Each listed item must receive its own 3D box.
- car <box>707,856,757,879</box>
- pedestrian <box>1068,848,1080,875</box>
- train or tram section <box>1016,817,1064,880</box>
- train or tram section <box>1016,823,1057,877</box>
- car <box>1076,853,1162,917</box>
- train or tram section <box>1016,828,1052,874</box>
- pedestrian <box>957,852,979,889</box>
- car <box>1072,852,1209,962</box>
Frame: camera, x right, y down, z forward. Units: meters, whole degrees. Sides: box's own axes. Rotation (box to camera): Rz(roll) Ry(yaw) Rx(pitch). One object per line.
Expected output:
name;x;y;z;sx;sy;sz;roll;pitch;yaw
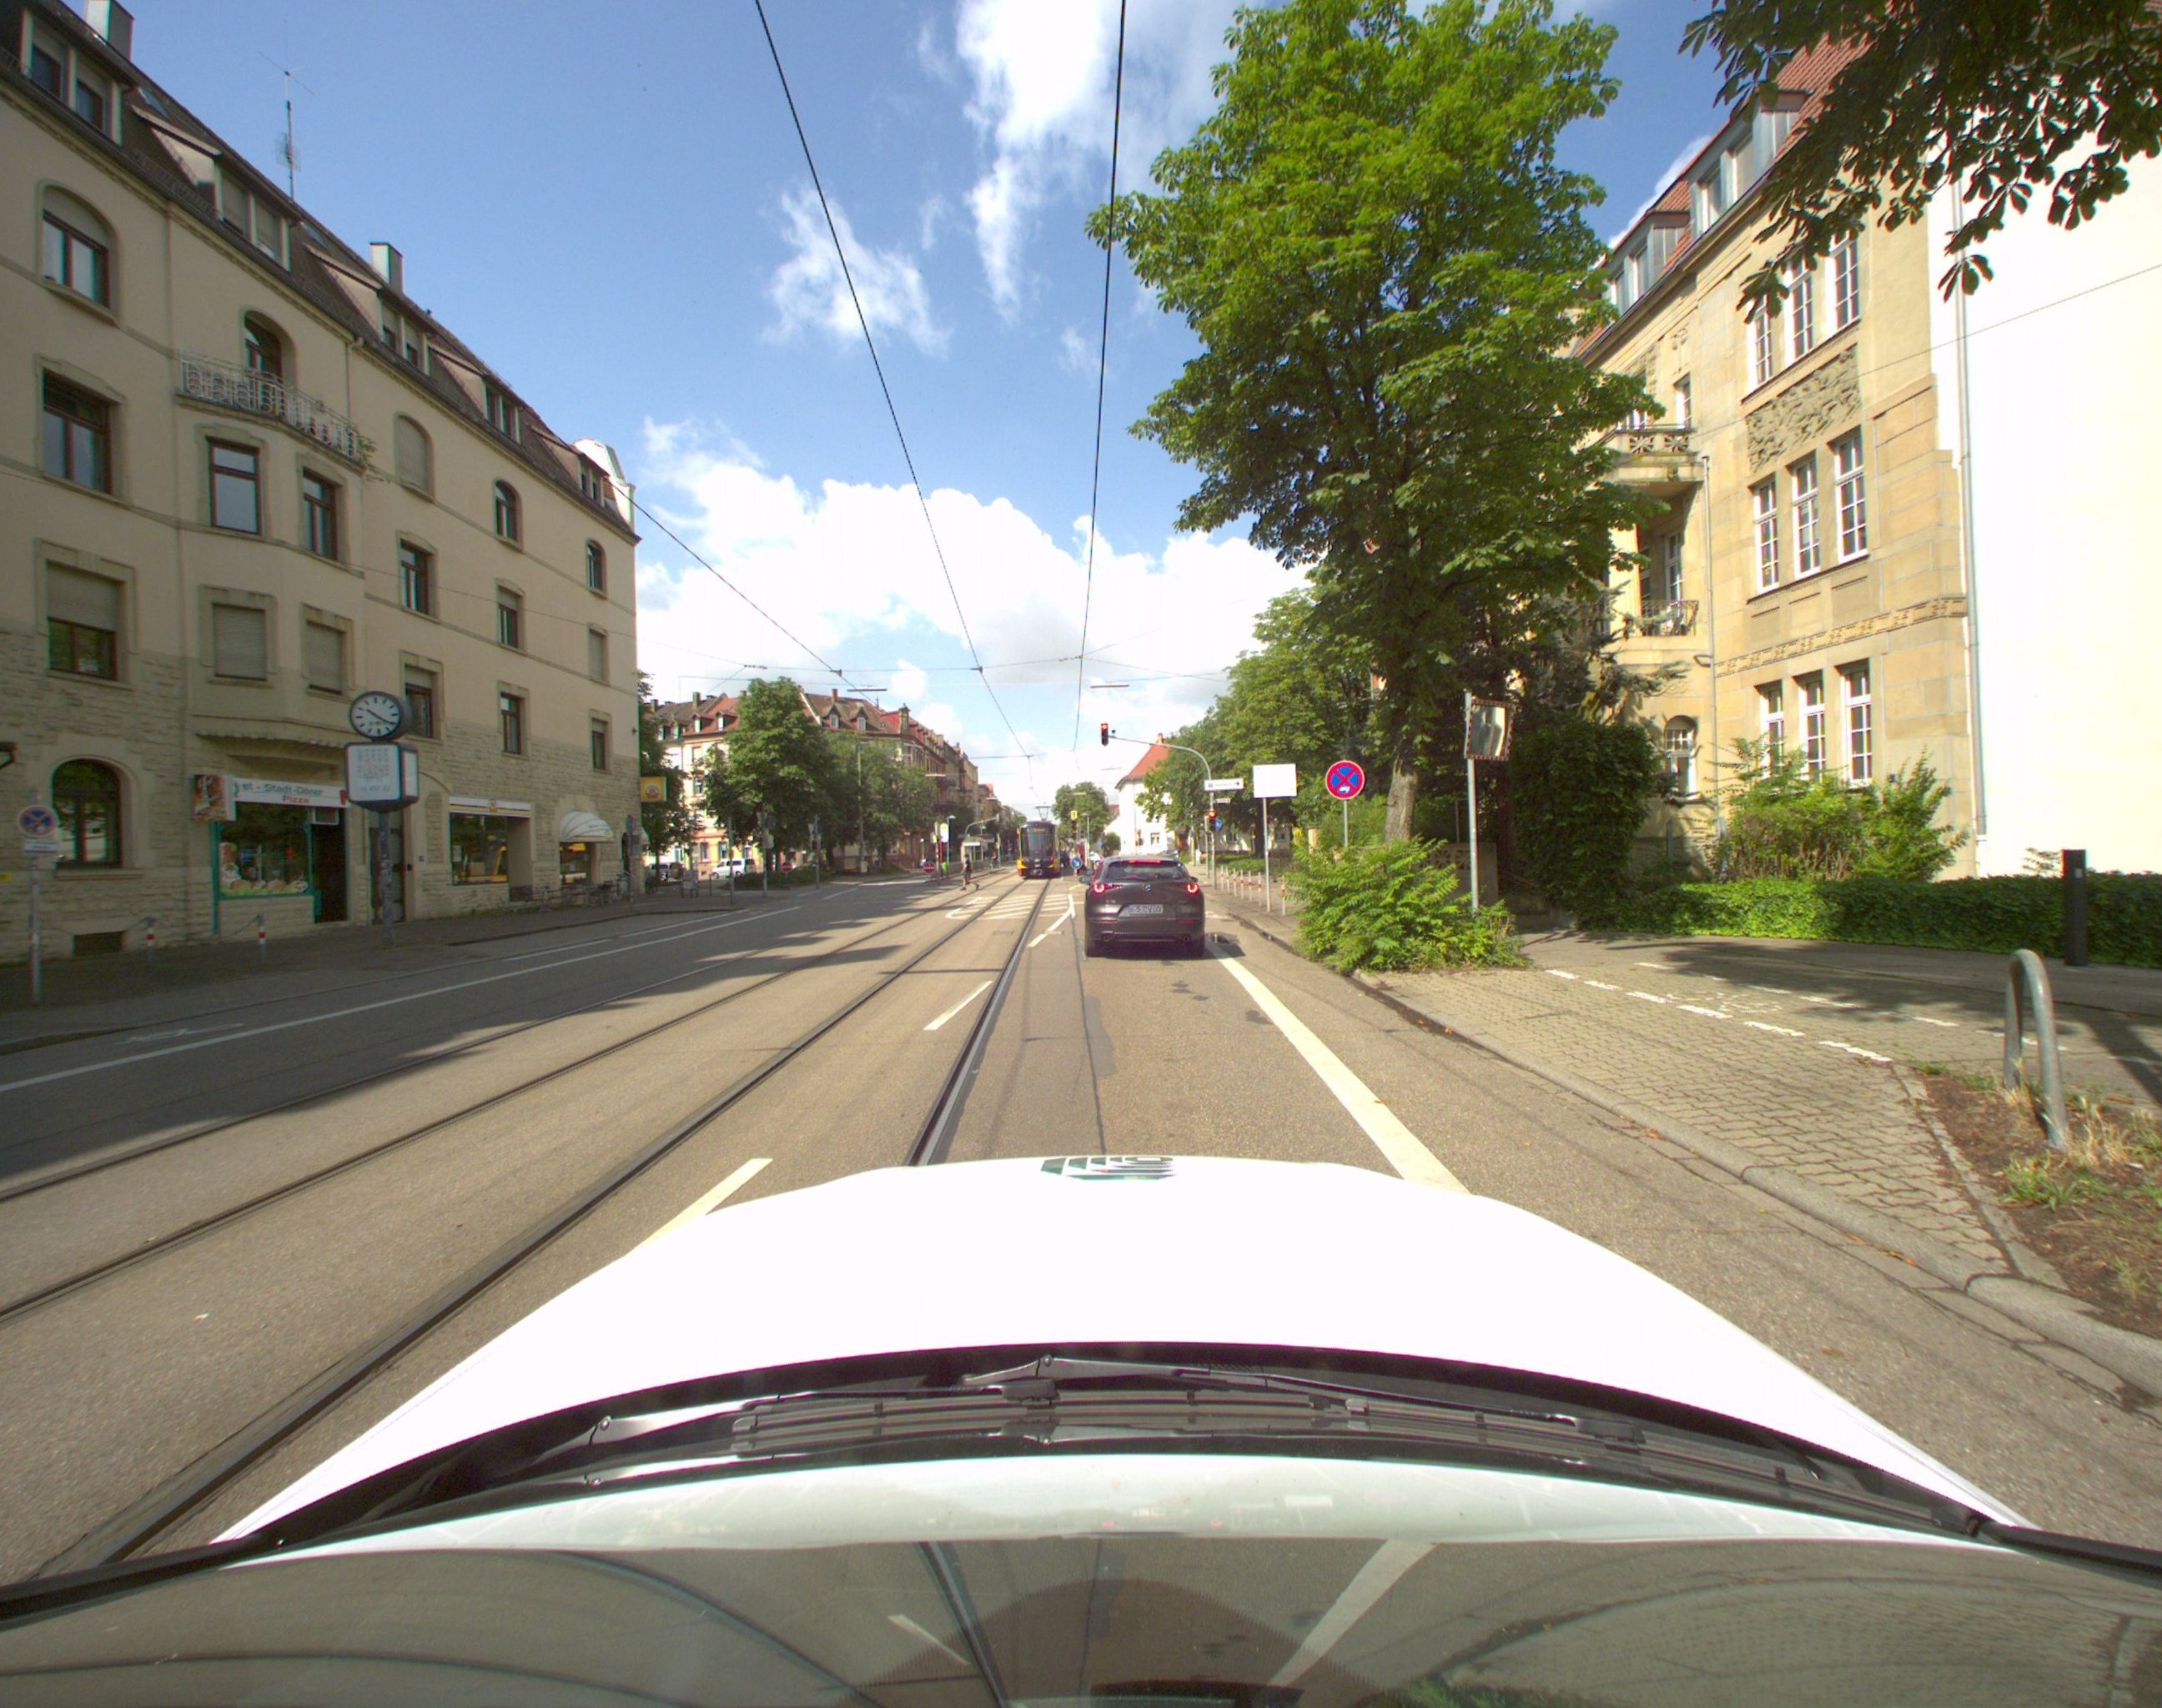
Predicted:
car;-36.083;1.357;84.278;4.097;2.013;2.005;-5;0;8
pedestrian;-0.432;0.441;49.254;0.666;1.605;0.699;-2;0;-3
train or tram section;-2.713;-0.307;51.497;2.647;3.527;8.482;-3;0;-4
train or tram section;-3.360;-0.252;59.958;2.647;3.527;8.482;-3;0;-4
car;0.935;0.760;22.493;1.781;1.492;4.876;-2;0;-4
train or tram section;-4.001;-0.194;68.435;2.647;3.527;8.482;-3;0;-4
pedestrian;-5.014;0.749;36.223;0.873;1.605;0.631;-2;0;-3
car;0.820;0.736;13.609;1.785;1.512;4.346;-1;0;-3
